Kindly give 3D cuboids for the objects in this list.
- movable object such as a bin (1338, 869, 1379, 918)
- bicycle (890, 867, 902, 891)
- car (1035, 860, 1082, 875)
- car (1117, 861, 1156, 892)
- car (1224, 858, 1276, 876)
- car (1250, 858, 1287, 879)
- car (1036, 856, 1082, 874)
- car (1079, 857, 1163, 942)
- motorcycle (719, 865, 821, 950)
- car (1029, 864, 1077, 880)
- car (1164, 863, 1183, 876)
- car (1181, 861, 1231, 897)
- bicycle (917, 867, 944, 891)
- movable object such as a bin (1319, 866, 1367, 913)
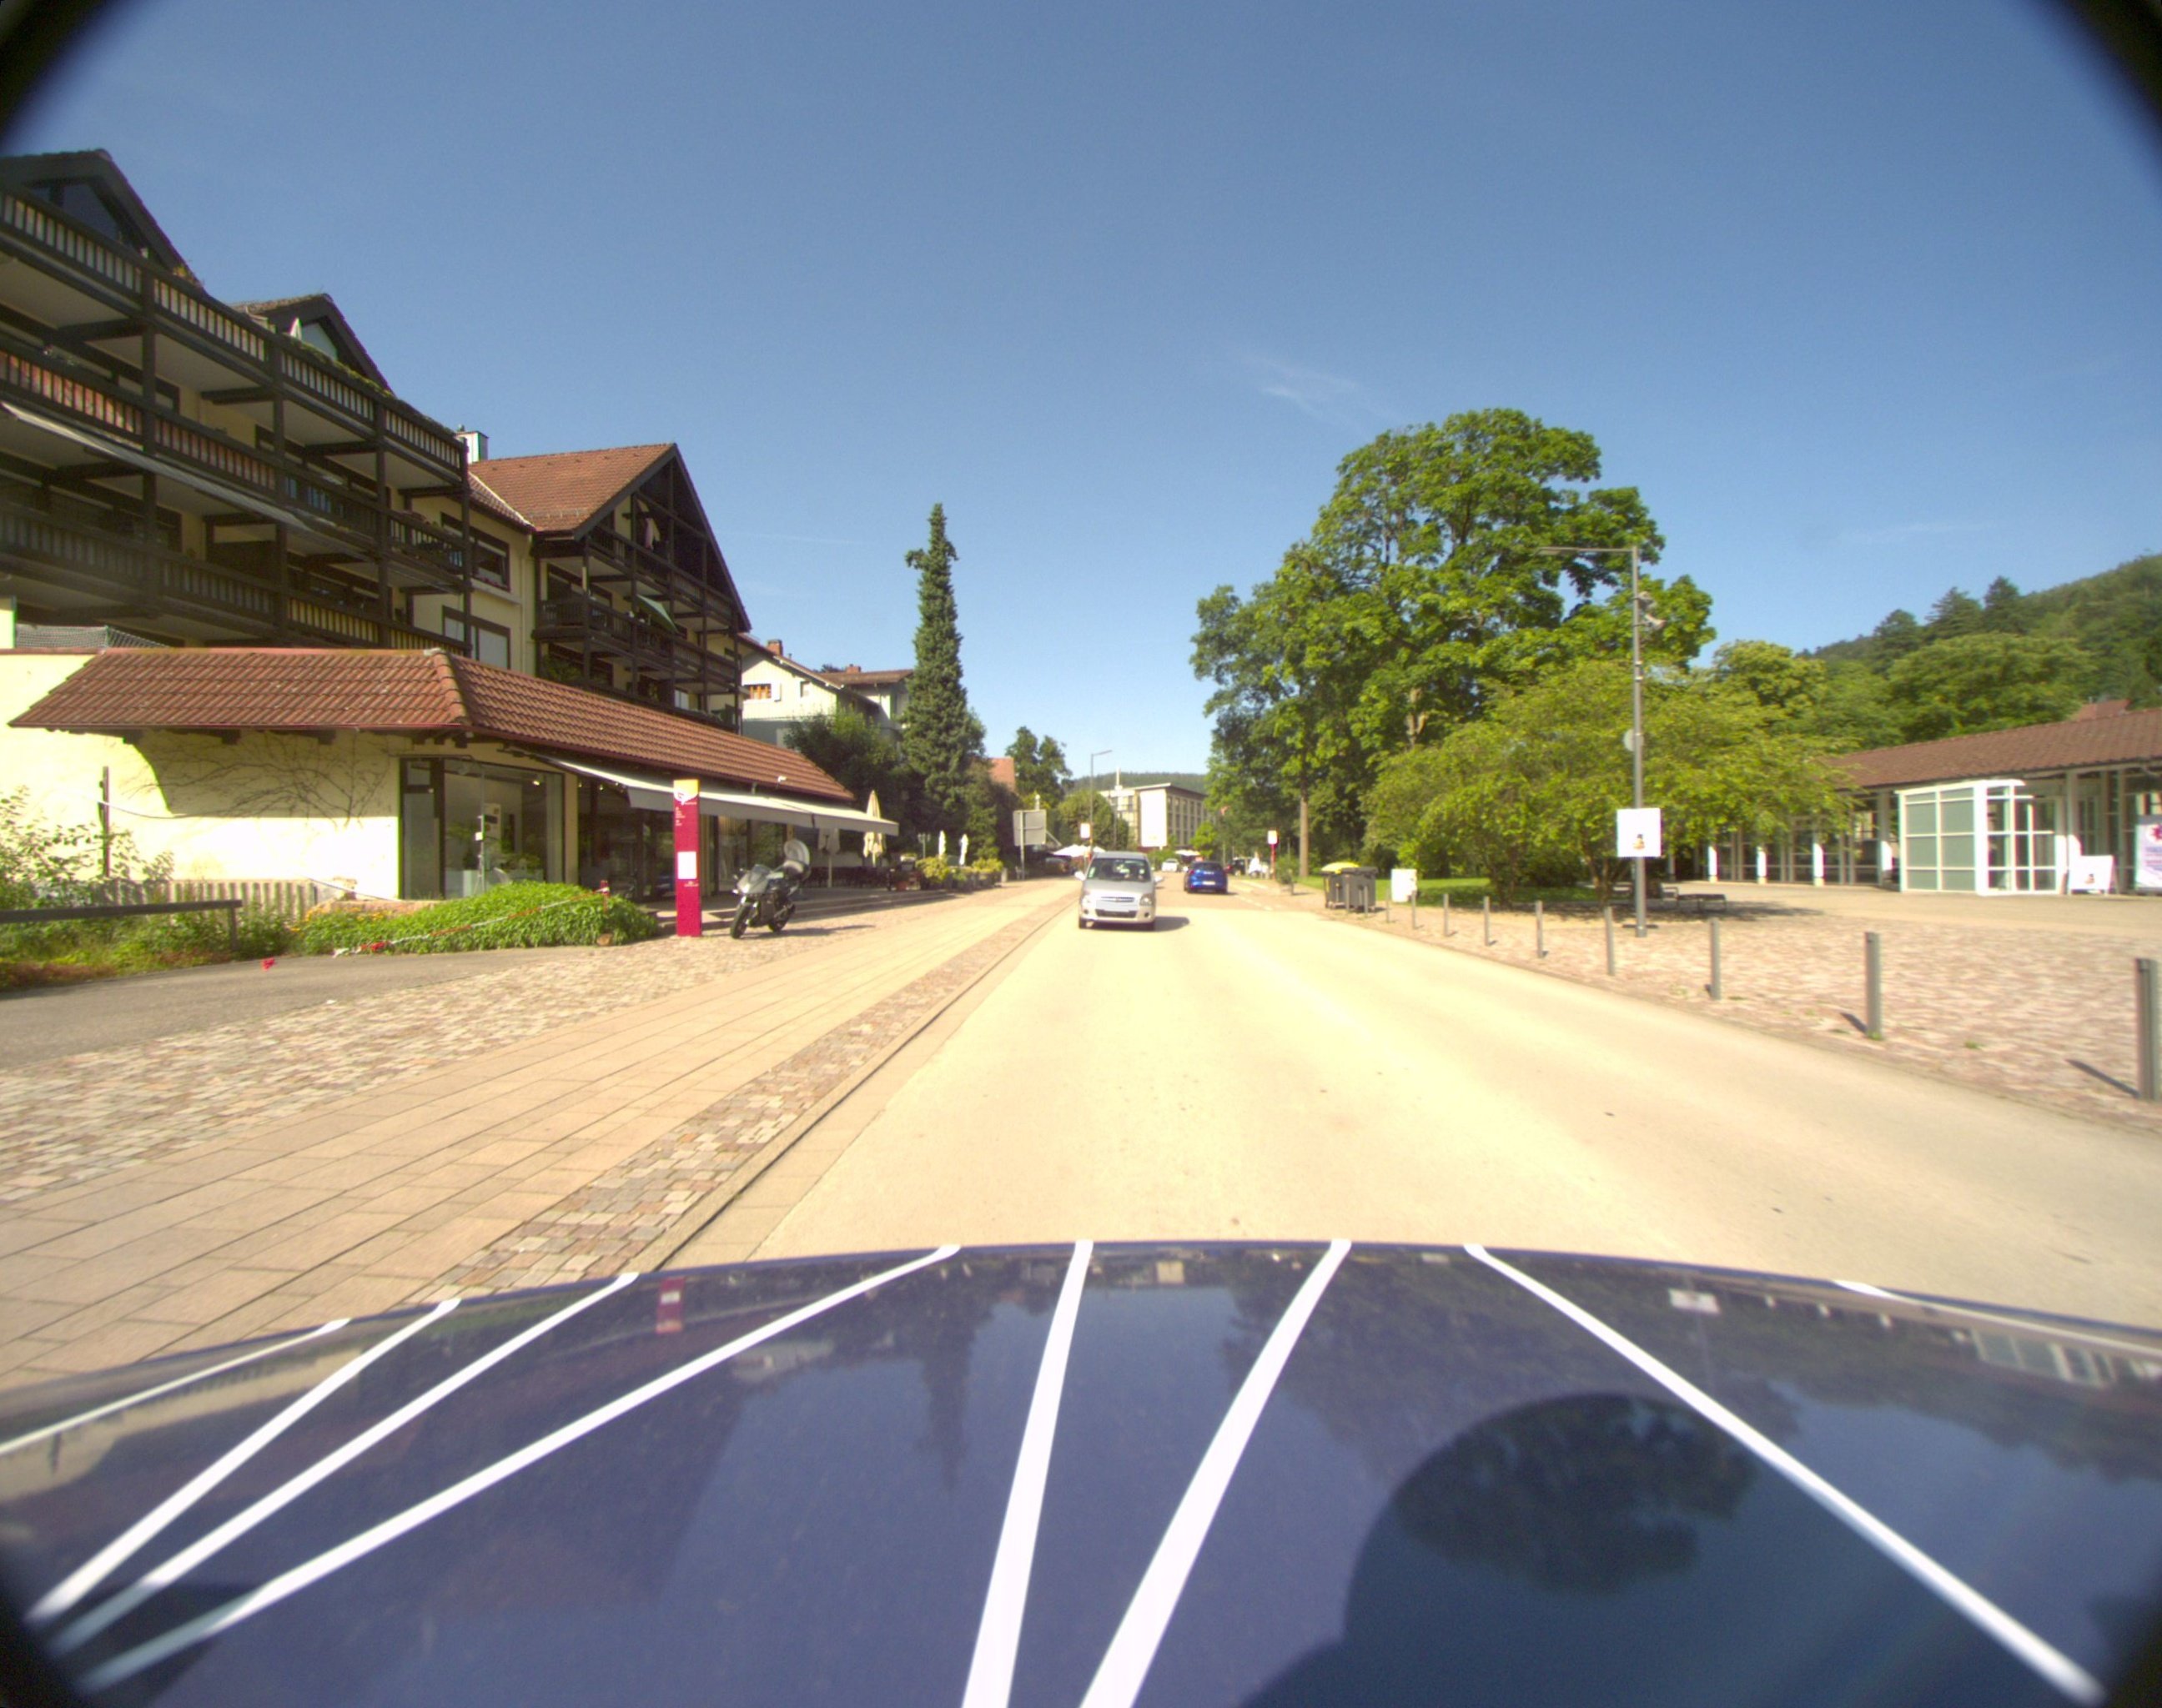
[{"bbox_3d":[8.132,1.138,22.329,0.756,1.333,1.295,-2,0,4],"label":"movable object such as a bin"},{"bbox_3d":[-6.850,0.916,28.151,0.397,0.837,1.614,-1,1,-14],"label":"bicycle"},{"bbox_3d":[-2.123,1.278,72.656,4.270,1.371,1.710,0,0,9],"label":"car"},{"bbox_3d":[2.931,1.109,39.385,1.739,1.488,3.932,-1,0,8],"label":"car"},{"bbox_3d":[15.407,1.195,69.371,4.286,1.423,1.713,-2,0,1],"label":"car"},{"bbox_3d":[14.697,1.125,59.622,2.655,1.537,1.684,-2,0,13],"label":"car"},{"bbox_3d":[-1.941,0.988,67.262,3.884,1.571,1.749,0,0,4],"label":"car"},{"bbox_3d":[0.860,0.901,17.017,1.604,1.628,4.001,1,0,2],"label":"car"},{"bbox_3d":[-5.267,0.849,13.046,0.698,1.288,2.213,2,0,3],"label":"motorcycle"},{"bbox_3d":[-2.576,1.661,69.764,4.117,1.407,1.750,0,0,9],"label":"car"},{"bbox_3d":[11.079,1.855,90.696,1.652,1.462,4.005,-2,-1,16],"label":"car"},{"bbox_3d":[5.605,1.088,34.555,1.745,1.454,4.187,2,1,3],"label":"car"},{"bbox_3d":[-5.611,0.914,28.392,0.397,0.858,1.618,0,0,13],"label":"bicycle"},{"bbox_3d":[8.348,1.116,24.272,1.081,1.419,1.377,-2,0,4],"label":"movable object such as a bin"}]
